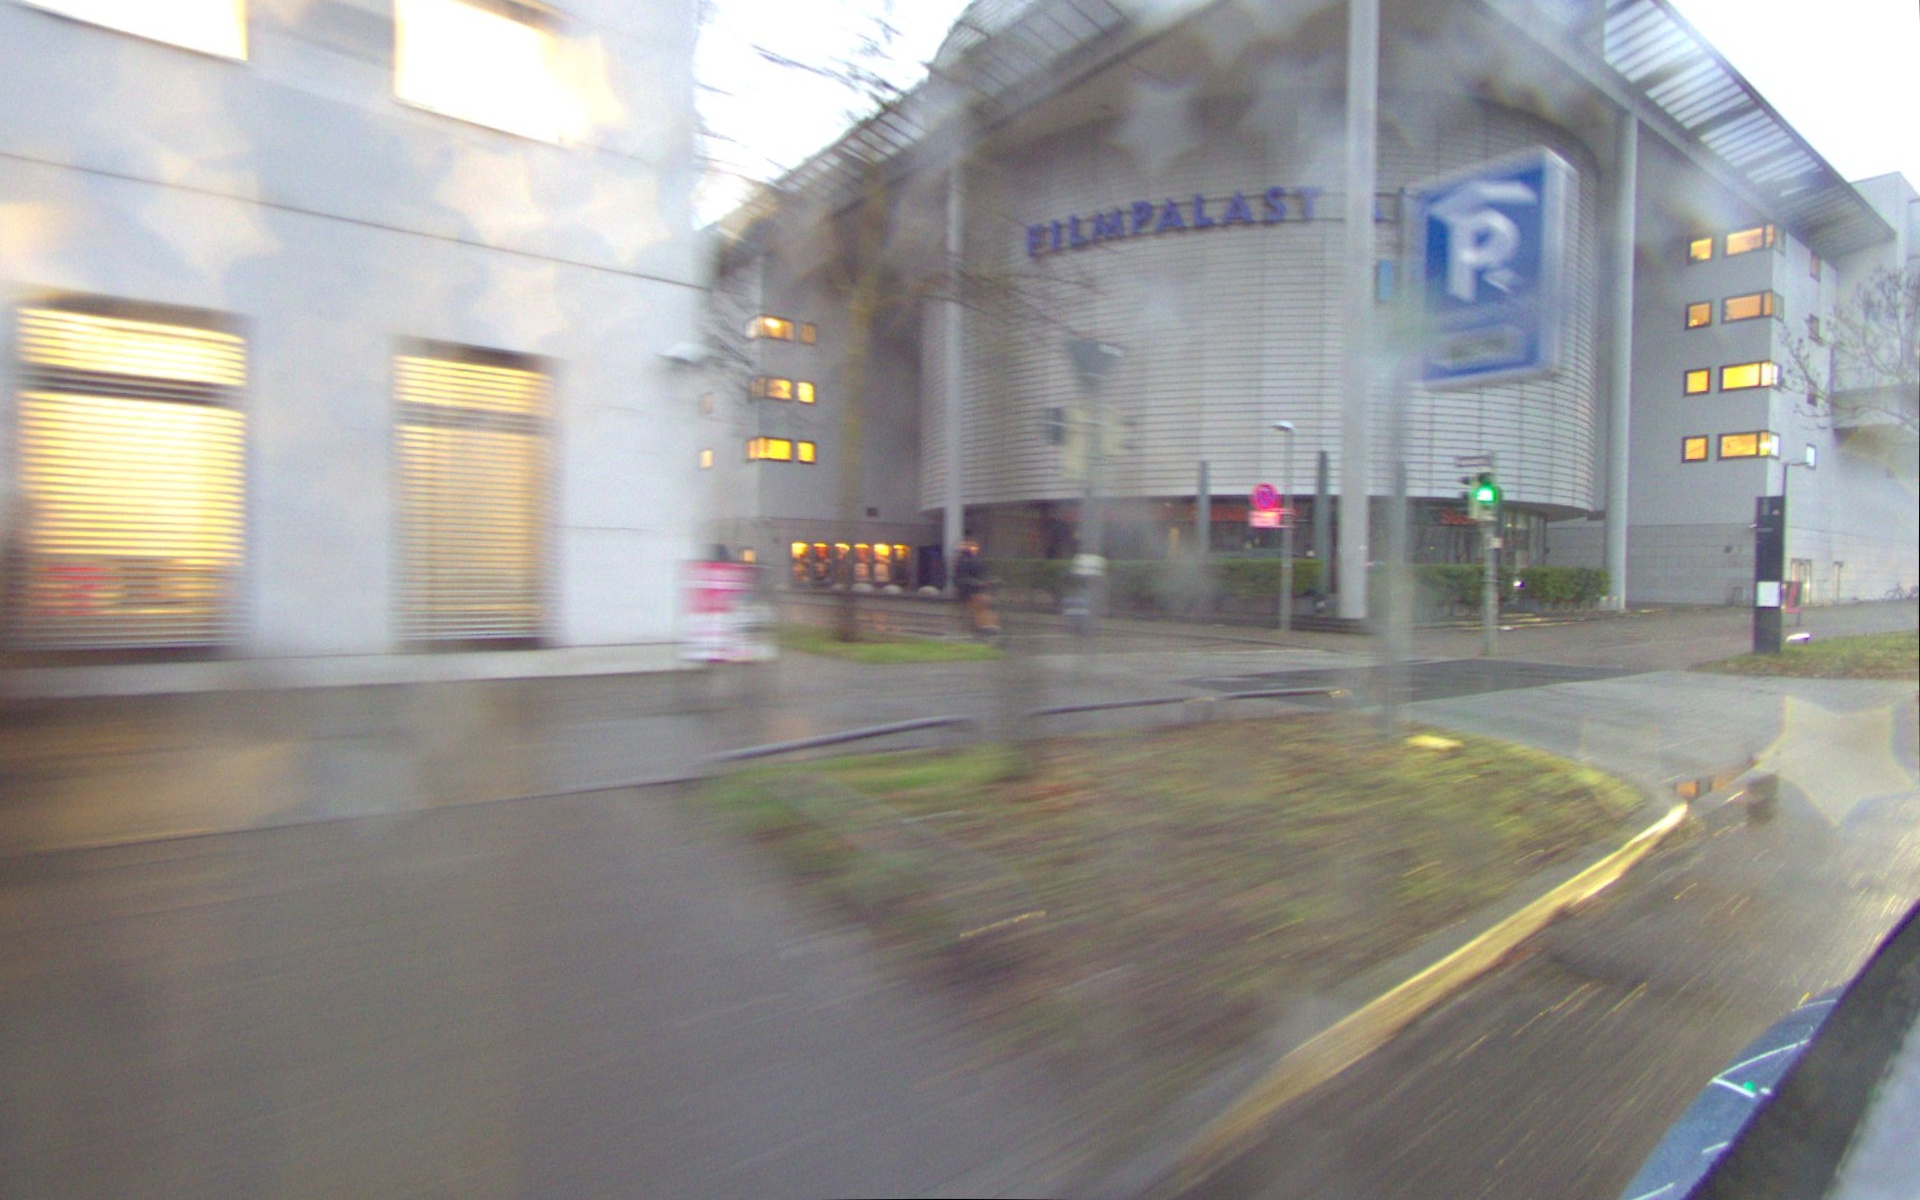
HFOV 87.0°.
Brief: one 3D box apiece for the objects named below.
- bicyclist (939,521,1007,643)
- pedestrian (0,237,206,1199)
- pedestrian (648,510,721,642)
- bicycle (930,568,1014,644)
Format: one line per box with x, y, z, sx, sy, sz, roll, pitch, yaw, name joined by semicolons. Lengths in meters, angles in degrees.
0.198;-0.276;15.969;0.822;1.845;0.733;2;0;-15;bicyclist
-1.640;0.410;1.571;0.687;1.829;0.773;-2;6;-41;pedestrian
-3.794;-0.328;13.930;0.691;1.757;0.738;-2;1;-40;pedestrian
0.157;0.079;16.105;0.836;1.105;1.872;2;0;-14;bicycle
